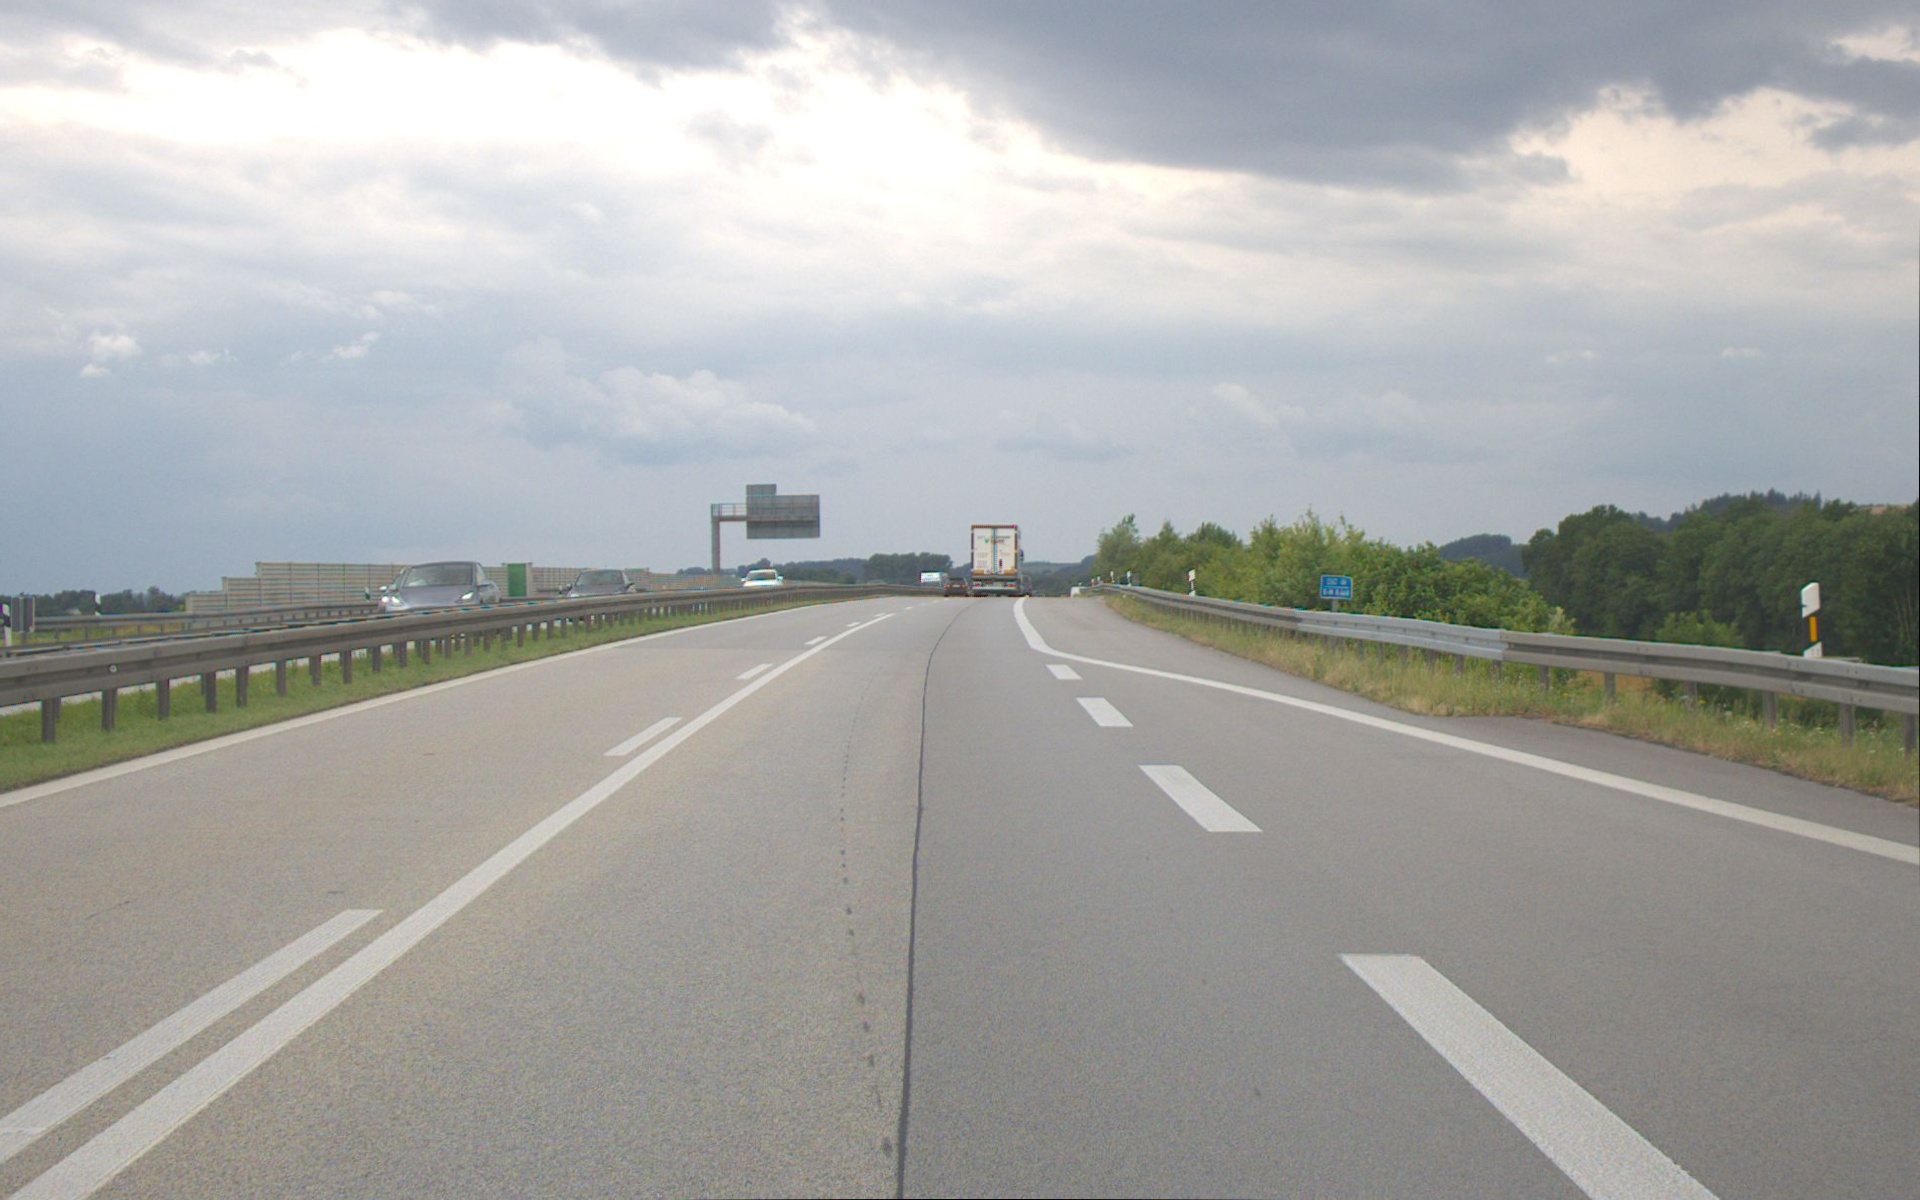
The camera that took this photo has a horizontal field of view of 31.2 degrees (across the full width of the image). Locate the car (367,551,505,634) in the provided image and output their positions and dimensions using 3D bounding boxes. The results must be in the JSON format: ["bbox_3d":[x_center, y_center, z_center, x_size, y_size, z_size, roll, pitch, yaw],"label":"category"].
[{"bbox_3d":[-10.790,-0.186,71.147,2.135,1.582,5.000,-1,1,-1],"label":"car"}]

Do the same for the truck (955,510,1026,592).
[{"bbox_3d":[1.863,-2.779,200.866,3.672,4.397,16.339,-1,-1,2],"label":"truck"}]

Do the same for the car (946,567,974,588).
[{"bbox_3d":[-0.026,-1.636,249.485,1.993,1.415,4.000,1,1,-1],"label":"car"}]

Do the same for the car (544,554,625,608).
[{"bbox_3d":[-10.453,-0.553,95.920,1.800,1.388,4.000,-2,1,0],"label":"car"}]

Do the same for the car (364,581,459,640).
[{"bbox_3d":[-14.079,0.262,88.371,1.800,1.388,4.000,1,1,0],"label":"car"}]
